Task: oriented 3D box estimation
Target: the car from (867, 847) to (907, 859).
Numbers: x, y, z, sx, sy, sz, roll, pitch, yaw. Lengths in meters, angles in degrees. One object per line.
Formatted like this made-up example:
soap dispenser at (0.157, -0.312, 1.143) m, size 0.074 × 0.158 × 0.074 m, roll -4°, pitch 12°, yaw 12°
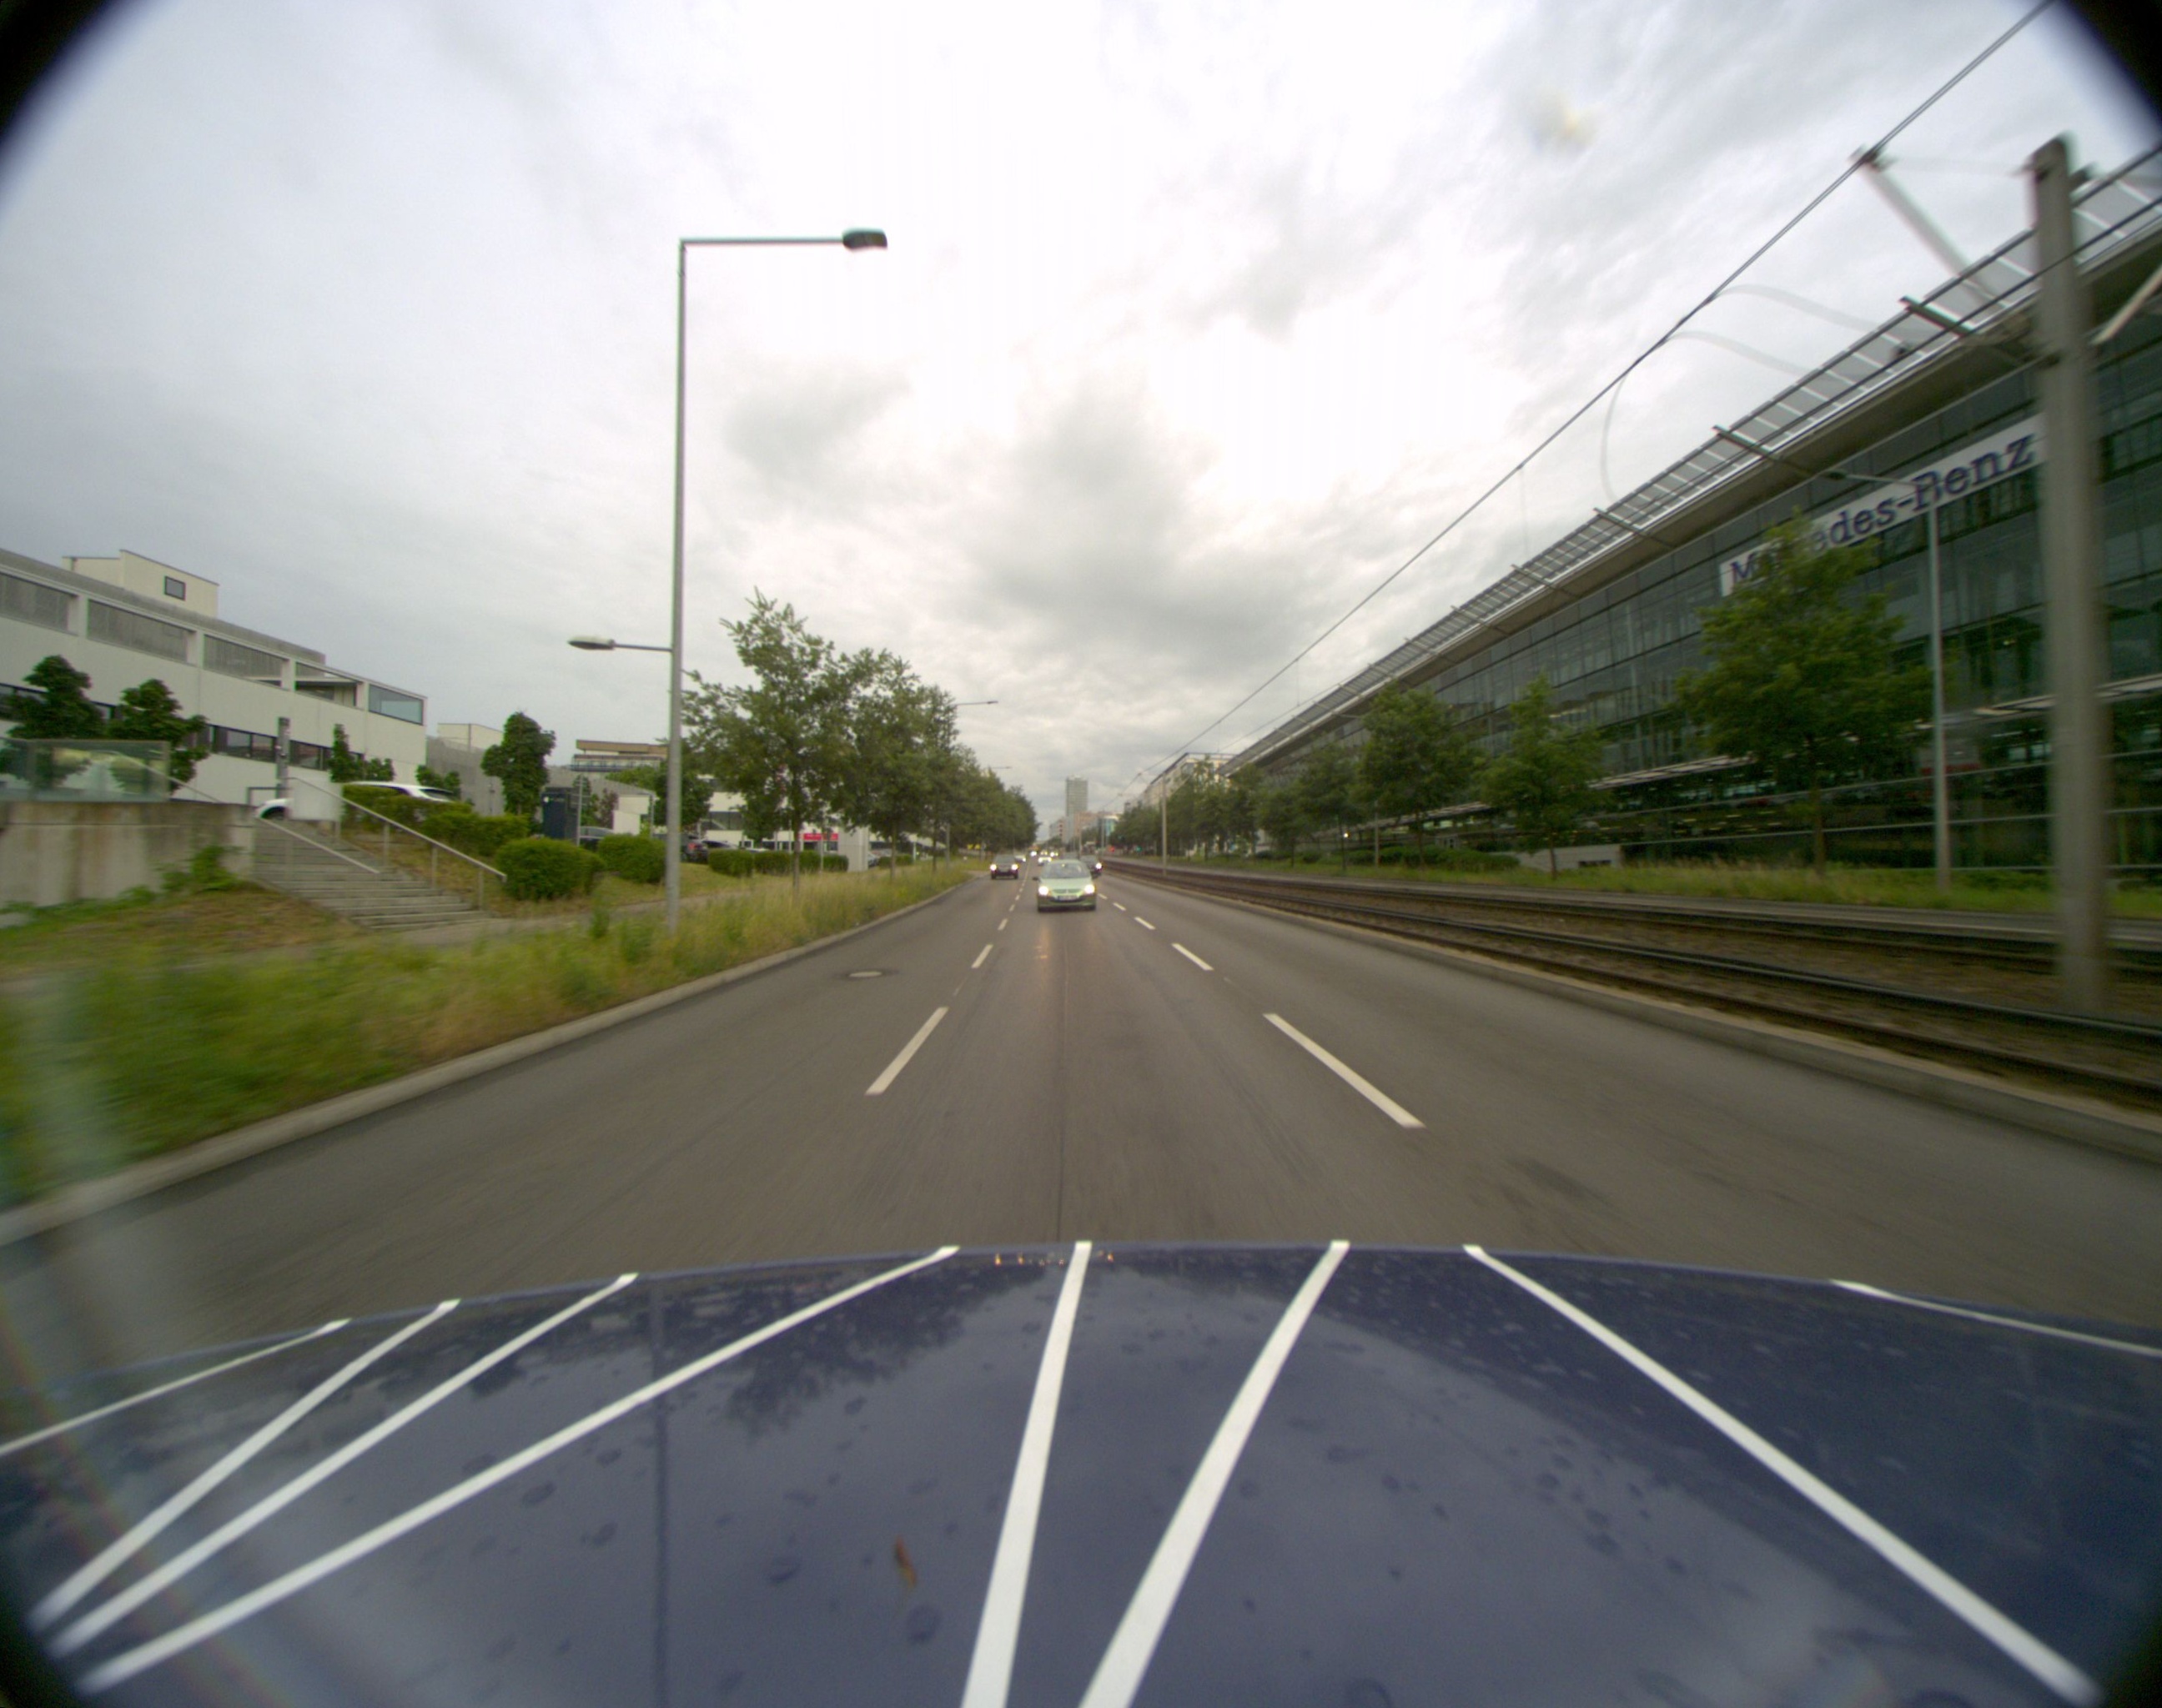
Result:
car at (-24.020, -0.179, 94.162) m, size 4.410 × 1.419 × 1.889 m, roll 1°, pitch 2°, yaw -3°

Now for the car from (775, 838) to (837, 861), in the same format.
car at (-20.603, -0.334, 57.067) m, size 4.120 × 1.585 × 1.946 m, roll -1°, pitch 2°, yaw -12°

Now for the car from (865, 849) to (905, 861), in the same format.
car at (-23.482, 0.096, 91.120) m, size 4.410 × 1.341 × 1.929 m, roll 1°, pitch 2°, yaw -4°

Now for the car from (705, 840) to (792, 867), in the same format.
car at (-20.303, -0.036, 46.512) m, size 4.533 × 1.585 × 1.691 m, roll 0°, pitch 2°, yaw -4°

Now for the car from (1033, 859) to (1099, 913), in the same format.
car at (-0.420, 0.922, 23.552) m, size 1.828 × 1.499 × 4.114 m, roll -2°, pitch 0°, yaw 0°

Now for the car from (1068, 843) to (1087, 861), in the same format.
car at (-0.408, -0.172, 80.418) m, size 1.861 × 1.799 × 4.114 m, roll -1°, pitch -1°, yaw -1°

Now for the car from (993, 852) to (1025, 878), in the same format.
car at (-4.928, 0.715, 52.321) m, size 1.829 × 1.600 × 4.112 m, roll -2°, pitch 2°, yaw -1°

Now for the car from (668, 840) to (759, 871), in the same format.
car at (-20.193, 0.069, 41.868) m, size 4.117 × 1.599 × 1.692 m, roll -1°, pitch 0°, yaw -4°

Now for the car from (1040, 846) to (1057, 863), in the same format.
car at (-4.119, 0.019, 97.451) m, size 1.998 × 2.002 × 3.999 m, roll -2°, pitch 2°, yaw 0°

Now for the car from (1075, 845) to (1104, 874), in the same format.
car at (0.628, 0.360, 56.595) m, size 1.999 × 2.002 × 3.998 m, roll -2°, pitch 2°, yaw -1°

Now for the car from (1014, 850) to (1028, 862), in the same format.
car at (-9.338, 0.289, 119.270) m, size 1.861 × 1.799 × 4.114 m, roll -1°, pitch -1°, yaw -1°

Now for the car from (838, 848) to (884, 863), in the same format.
car at (-23.773, 0.180, 82.251) m, size 4.474 × 1.520 × 1.930 m, roll 1°, pitch 2°, yaw -4°

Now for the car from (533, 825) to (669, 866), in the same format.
car at (-19.793, -0.343, 31.490) m, size 4.433 × 1.565 × 1.692 m, roll -1°, pitch 0°, yaw -4°

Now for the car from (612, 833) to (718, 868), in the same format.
car at (-20.110, -0.158, 36.843) m, size 4.117 × 1.565 × 1.692 m, roll -1°, pitch 0°, yaw -4°

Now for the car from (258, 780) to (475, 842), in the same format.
car at (-19.820, -1.171, 21.228) m, size 4.271 × 1.565 × 1.692 m, roll -1°, pitch 0°, yaw -4°

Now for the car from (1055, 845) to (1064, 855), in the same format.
car at (-5.067, -0.954, 175.320) m, size 1.999 × 2.002 × 3.998 m, roll -2°, pitch 2°, yaw -2°
